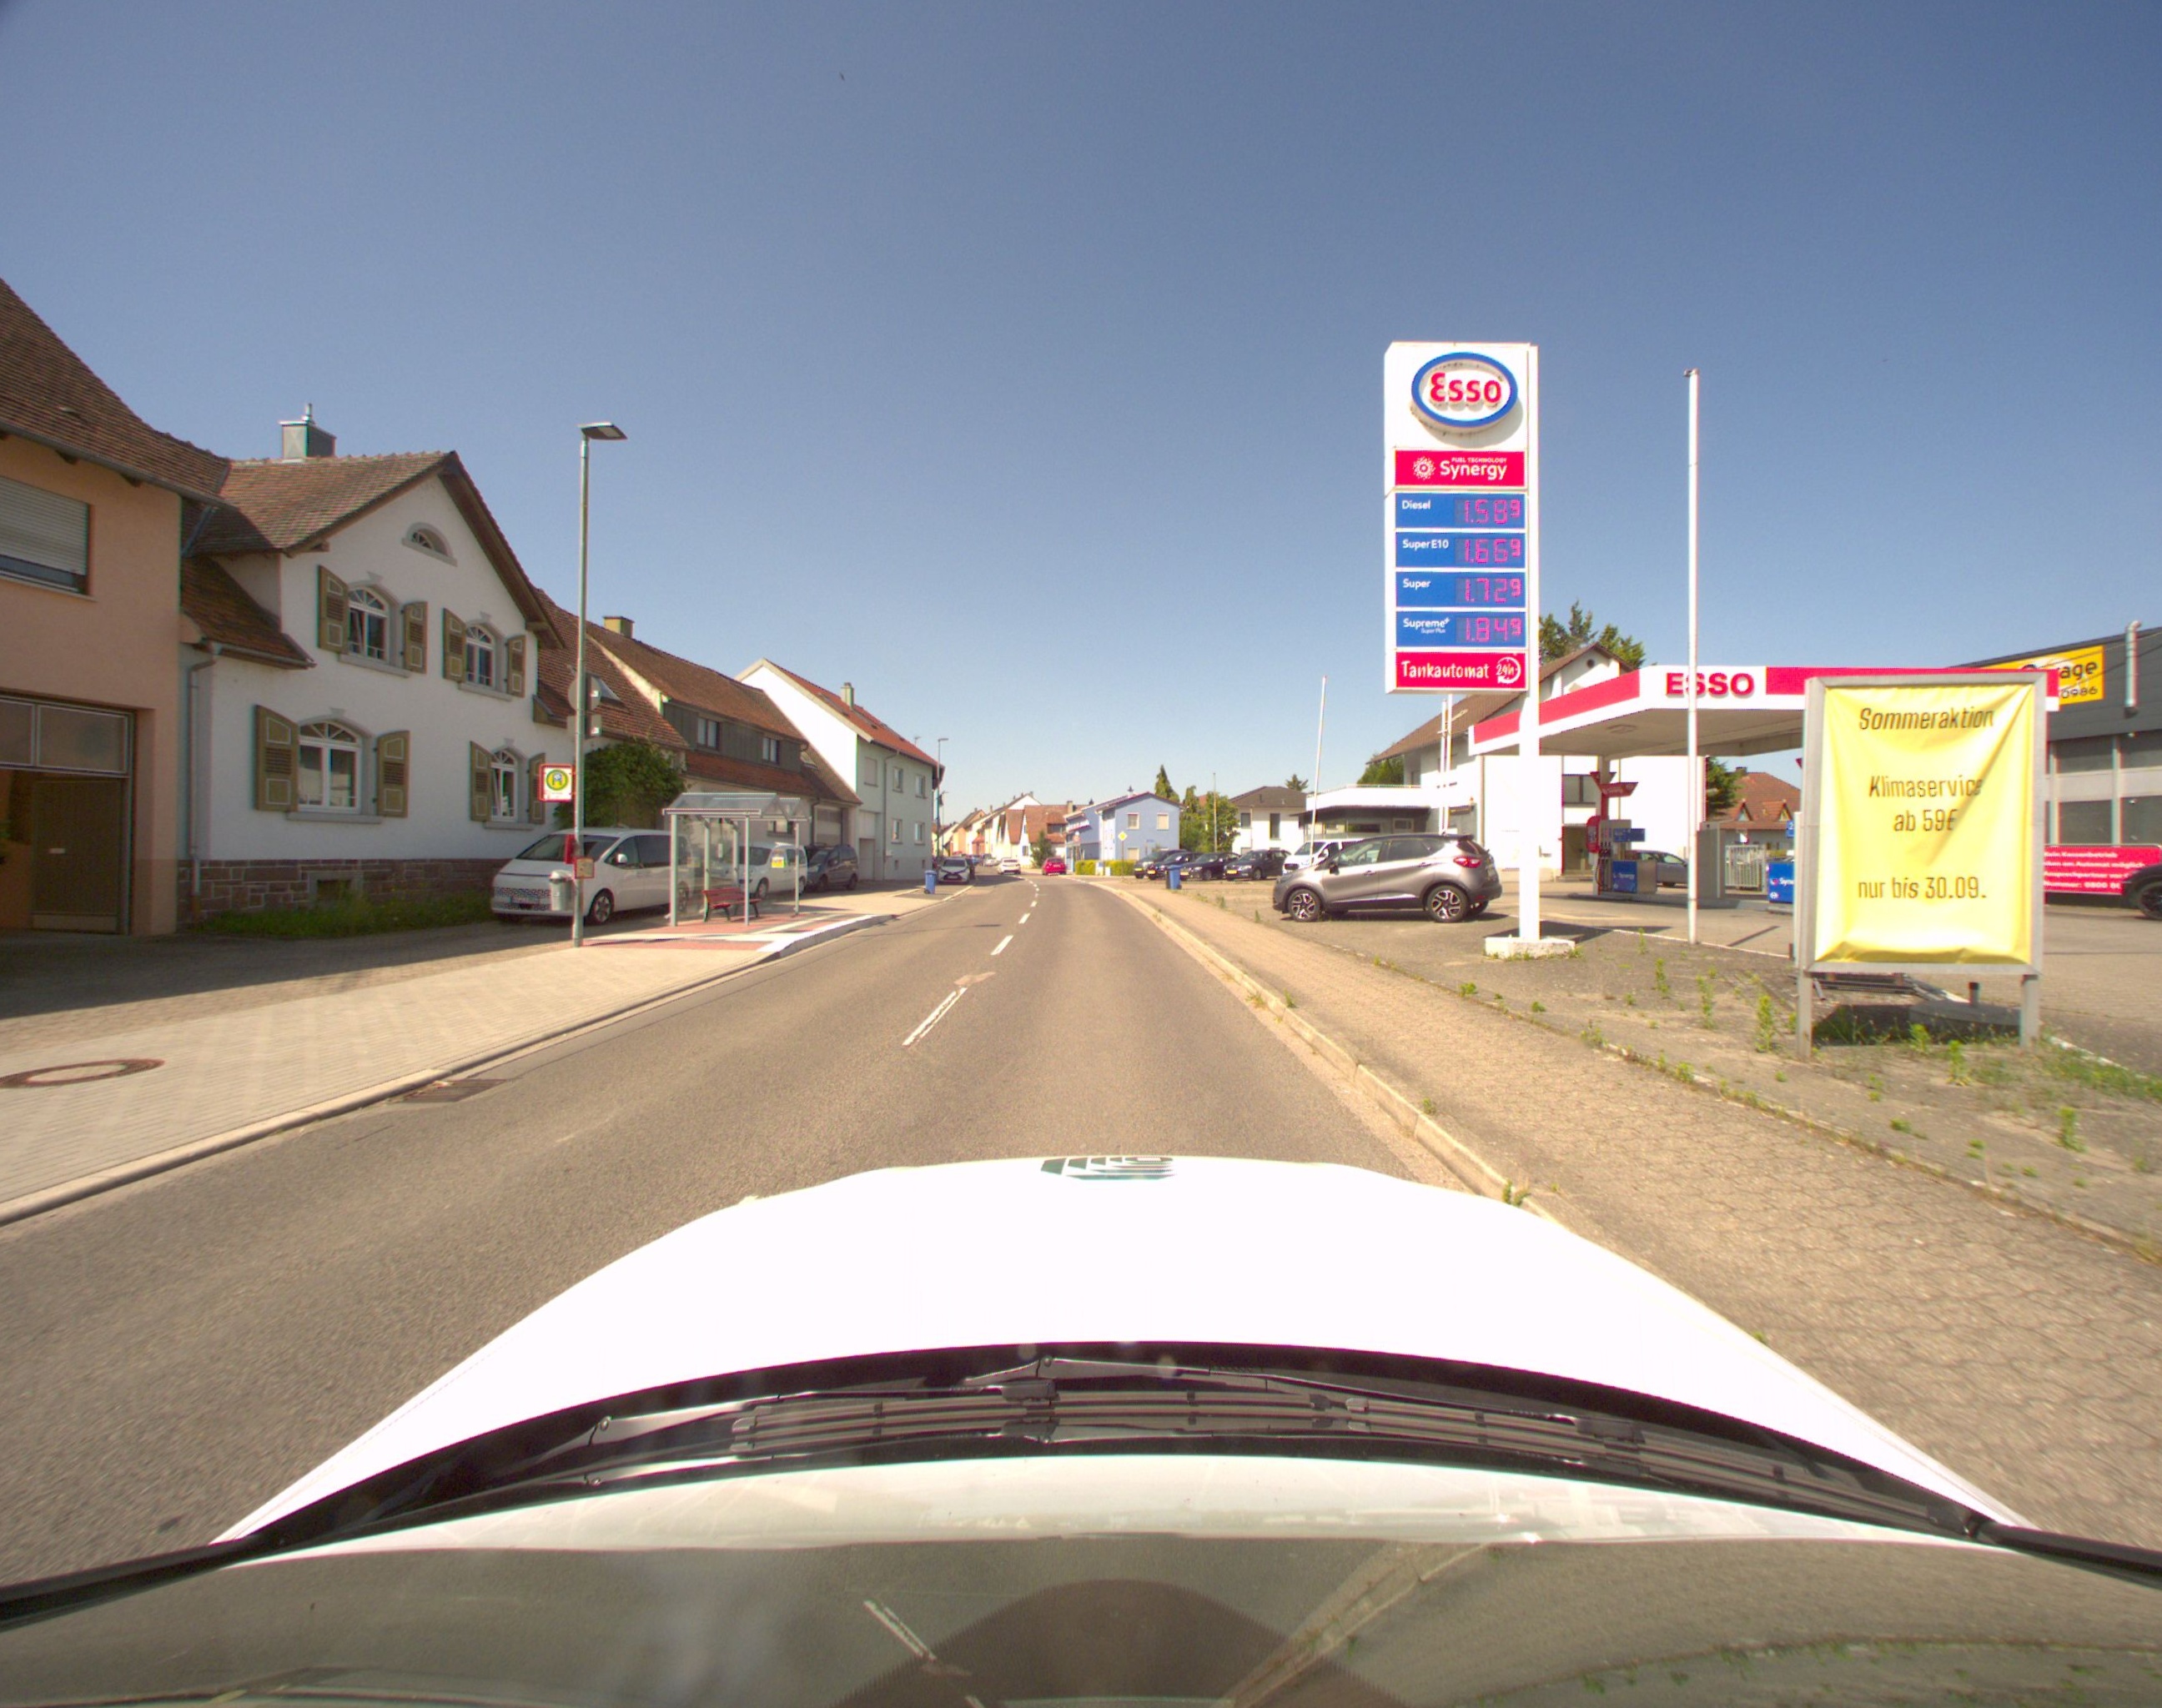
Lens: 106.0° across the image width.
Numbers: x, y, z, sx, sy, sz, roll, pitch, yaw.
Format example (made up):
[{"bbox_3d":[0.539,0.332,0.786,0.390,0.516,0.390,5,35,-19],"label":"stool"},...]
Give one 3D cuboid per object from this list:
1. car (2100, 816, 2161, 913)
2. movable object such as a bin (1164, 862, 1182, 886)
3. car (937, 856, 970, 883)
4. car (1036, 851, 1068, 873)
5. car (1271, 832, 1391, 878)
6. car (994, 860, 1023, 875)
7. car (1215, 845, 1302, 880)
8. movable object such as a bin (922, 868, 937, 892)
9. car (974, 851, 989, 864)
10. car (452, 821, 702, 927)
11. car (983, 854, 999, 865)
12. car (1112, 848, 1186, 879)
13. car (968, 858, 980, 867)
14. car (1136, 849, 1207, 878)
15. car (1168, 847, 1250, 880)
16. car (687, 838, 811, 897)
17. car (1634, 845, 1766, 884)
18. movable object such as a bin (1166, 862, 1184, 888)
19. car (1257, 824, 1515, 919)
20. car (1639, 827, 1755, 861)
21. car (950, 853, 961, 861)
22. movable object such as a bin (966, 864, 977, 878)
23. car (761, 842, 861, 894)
[{"bbox_3d":[20.677,0.218,13.276,1.804,1.741,4.803,0,1,-10],"label":"car"},{"bbox_3d":[3.581,0.777,31.758,0.557,0.936,0.513,-1,0,-10],"label":"movable object such as a bin"},{"bbox_3d":[-7.128,0.849,45.844,1.682,1.462,3.641,0,-1,-6],"label":"car"},{"bbox_3d":[-2.415,0.615,67.333,1.735,1.494,4.334,-2,3,-15],"label":"car"},{"bbox_3d":[11.695,0.018,38.037,5.297,2.013,2.212,-1,0,-27],"label":"car"},{"bbox_3d":[-6.724,1.256,75.168,1.997,1.288,3.980,-1,0,-14],"label":"car"},{"bbox_3d":[8.753,0.388,39.963,4.341,1.550,1.960,-1,0,-42],"label":"car"},{"bbox_3d":[-6.173,1.065,33.236,0.557,0.936,0.513,2,-1,-10],"label":"movable object such as a bin"},{"bbox_3d":[-14.630,0.533,119.353,1.652,1.910,3.607,1,0,-15],"label":"car"},{"bbox_3d":[-10.624,0.398,17.822,2.119,1.986,5.265,0,-1,1],"label":"car"},{"bbox_3d":[-12.662,0.792,114.666,1.707,1.497,3.435,1,0,-15],"label":"car"},{"bbox_3d":[3.921,0.515,46.474,4.135,1.653,1.810,-1,0,-40],"label":"car"},{"bbox_3d":[-17.084,1.349,129.904,1.423,1.515,3.287,1,0,-15],"label":"car"},{"bbox_3d":[4.915,0.488,43.868,3.896,1.447,1.729,-1,0,-44],"label":"car"},{"bbox_3d":[6.592,0.455,41.590,4.264,1.565,1.960,-1,0,-44],"label":"car"},{"bbox_3d":[-10.653,0.428,26.526,1.958,1.774,4.283,0,-1,5],"label":"car"},{"bbox_3d":[24.996,0.410,32.958,4.053,1.479,1.809,-1,0,-4],"label":"car"},{"bbox_3d":[3.590,0.800,31.217,0.557,0.939,0.513,-1,0,-10],"label":"movable object such as a bin"},{"bbox_3d":[5.622,0.368,15.250,4.127,1.555,1.786,-3,-1,37],"label":"car"},{"bbox_3d":[28.726,-0.470,38.119,4.025,1.480,1.822,1,-1,24],"label":"car"},{"bbox_3d":[-24.051,0.534,155.549,1.769,1.433,3.434,-1,0,-14],"label":"car"},{"bbox_3d":[-7.361,1.133,54.771,0.552,0.928,0.821,4,-1,-14],"label":"movable object such as a bin"},{"bbox_3d":[-10.226,0.496,31.247,1.826,1.793,4.352,2,0,8],"label":"car"}]
